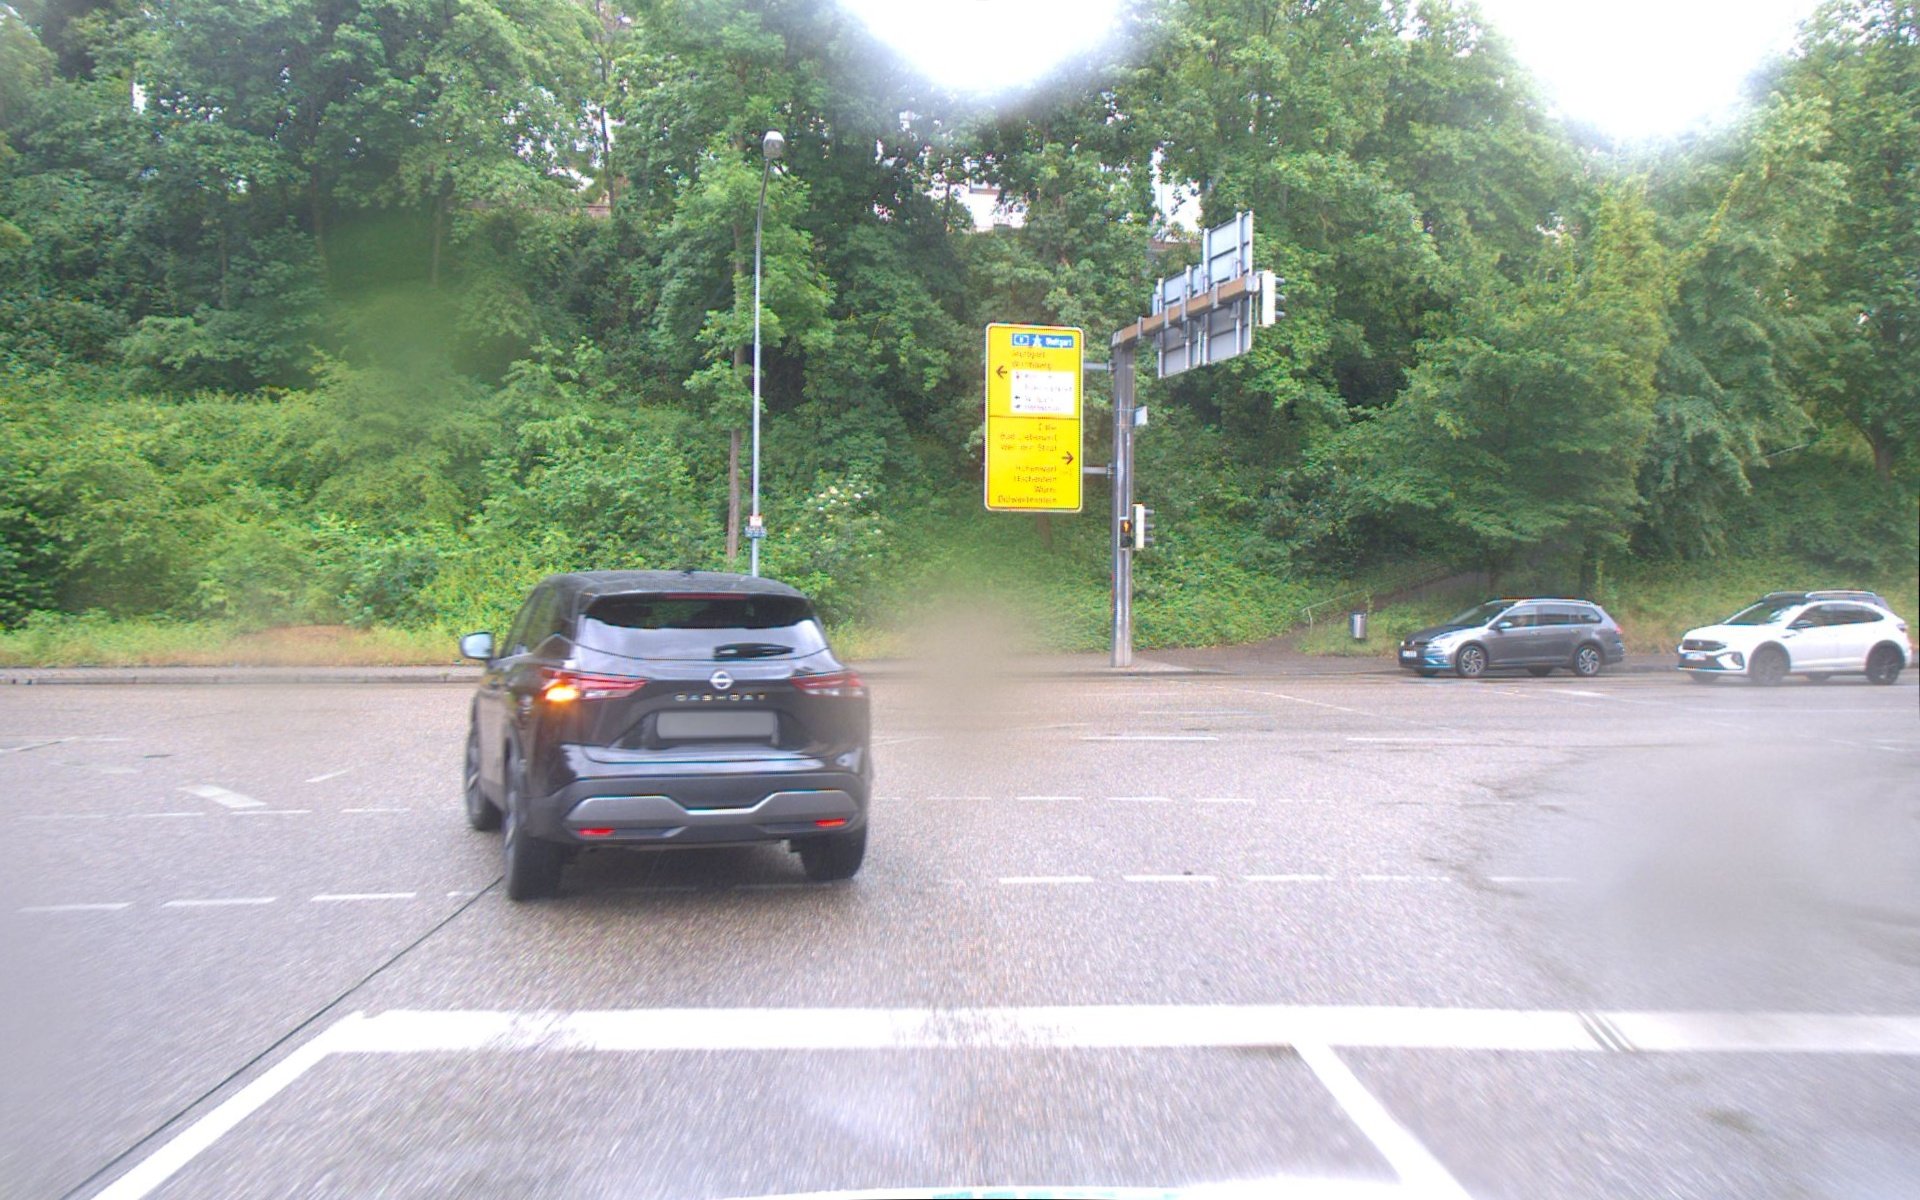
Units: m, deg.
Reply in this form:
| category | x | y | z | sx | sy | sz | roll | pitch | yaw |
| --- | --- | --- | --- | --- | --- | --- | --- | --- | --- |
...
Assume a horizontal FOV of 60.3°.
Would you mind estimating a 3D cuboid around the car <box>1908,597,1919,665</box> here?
| category | x | y | z | sx | sy | sz | roll | pitch | yaw |
| --- | --- | --- | --- | --- | --- | --- | --- | --- | --- |
| car | 23.845 | 0.683 | 37.122 | 4.536 | 1.507 | 1.820 | 0 | 0 | -16 |

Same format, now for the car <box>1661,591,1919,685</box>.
| category | x | y | z | sx | sy | sz | roll | pitch | yaw |
| --- | --- | --- | --- | --- | --- | --- | --- | --- | --- |
| car | 14.880 | 0.642 | 29.638 | 4.075 | 1.589 | 1.802 | 0 | 0 | -16 |

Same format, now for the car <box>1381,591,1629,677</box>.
| category | x | y | z | sx | sy | sz | roll | pitch | yaw |
| --- | --- | --- | --- | --- | --- | --- | --- | --- | --- |
| car | 10.603 | 0.629 | 32.258 | 4.250 | 1.528 | 1.877 | -1 | 1 | -13 |

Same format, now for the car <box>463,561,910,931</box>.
| category | x | y | z | sx | sy | sz | roll | pitch | yaw |
| --- | --- | --- | --- | --- | --- | --- | --- | --- | --- |
| car | -1.773 | 0.650 | 9.477 | 1.785 | 1.631 | 3.975 | 0 | 0 | -21 |
